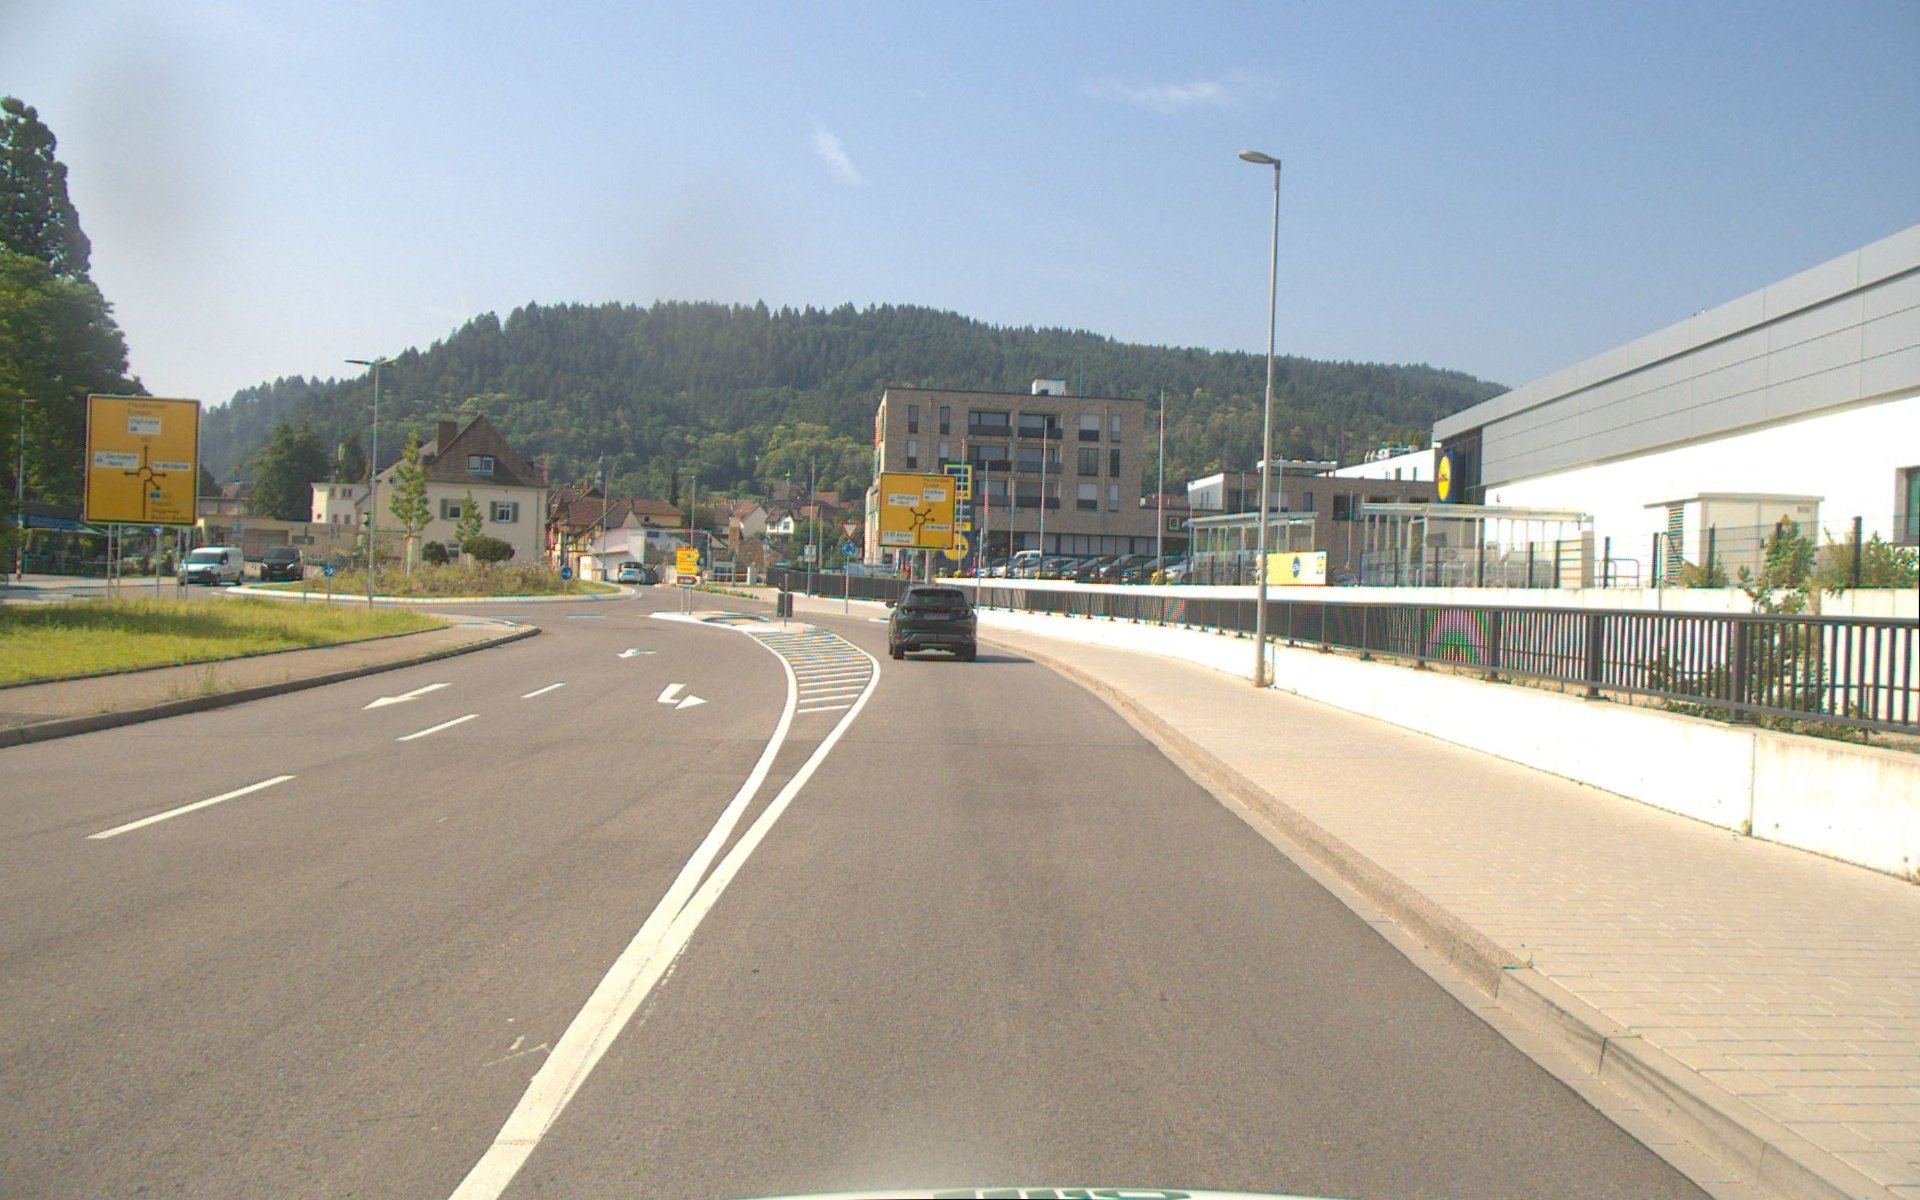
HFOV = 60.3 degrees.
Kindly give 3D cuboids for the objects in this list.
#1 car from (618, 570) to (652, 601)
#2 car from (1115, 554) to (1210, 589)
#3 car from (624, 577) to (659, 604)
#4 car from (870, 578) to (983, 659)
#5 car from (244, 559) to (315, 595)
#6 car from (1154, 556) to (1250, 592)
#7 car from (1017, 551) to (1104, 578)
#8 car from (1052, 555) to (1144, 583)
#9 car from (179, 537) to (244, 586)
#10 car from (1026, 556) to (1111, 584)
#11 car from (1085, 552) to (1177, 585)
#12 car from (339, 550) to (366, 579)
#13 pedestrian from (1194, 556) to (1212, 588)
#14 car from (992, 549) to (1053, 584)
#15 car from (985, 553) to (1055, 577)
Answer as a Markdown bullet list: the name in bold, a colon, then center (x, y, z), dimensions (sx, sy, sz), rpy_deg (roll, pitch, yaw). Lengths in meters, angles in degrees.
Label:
- **car**: center (-22.302, -0.964, 113.736), dimensions (1.955, 2.049, 3.994), rpy_deg (1, 0, -7)
- **car**: center (9.089, -1.276, 74.321), dimensions (4.001, 1.428, 1.478), rpy_deg (2, 1, -20)
- **car**: center (-25.132, -0.775, 130.329), dimensions (1.966, 2.049, 3.973), rpy_deg (1, 0, -22)
- **car**: center (-0.813, 0.396, 37.528), dimensions (1.848, 1.713, 3.988), rpy_deg (1, 0, -12)
- **car**: center (-39.500, -1.323, 96.158), dimensions (1.801, 1.980, 4.884), rpy_deg (1, 0, 4)
- **car**: center (10.441, -1.127, 71.281), dimensions (3.748, 1.388, 1.671), rpy_deg (2, 1, -20)
- **car**: center (5.274, -1.847, 86.700), dimensions (4.214, 1.267, 1.655), rpy_deg (2, 1, -20)
- **car**: center (6.759, -1.526, 81.181), dimensions (4.150, 1.267, 1.734), rpy_deg (2, 1, -20)
- **car**: center (-36.554, -1.912, 80.853), dimensions (1.774, 2.113, 4.594), rpy_deg (2, 3, -11)
- **car**: center (5.513, -1.522, 84.052), dimensions (3.907, 1.267, 1.720), rpy_deg (2, 1, -20)
- **car**: center (8.072, -1.489, 78.040), dimensions (3.945, 1.428, 1.715), rpy_deg (2, 1, -20)
- **car**: center (-44.594, -2.605, 121.301), dimensions (1.784, 2.048, 3.975), rpy_deg (1, 2, -21)
- **pedestrian**: center (10.276, -1.166, 69.901), dimensions (0.538, 1.335, 0.654), rpy_deg (1, 0, -17)
- **car**: center (4.100, -2.180, 107.922), dimensions (3.904, 2.173, 2.001), rpy_deg (1, 0, 2)
- **car**: center (3.337, -1.942, 92.085), dimensions (3.502, 1.220, 1.705), rpy_deg (2, 1, -19)
